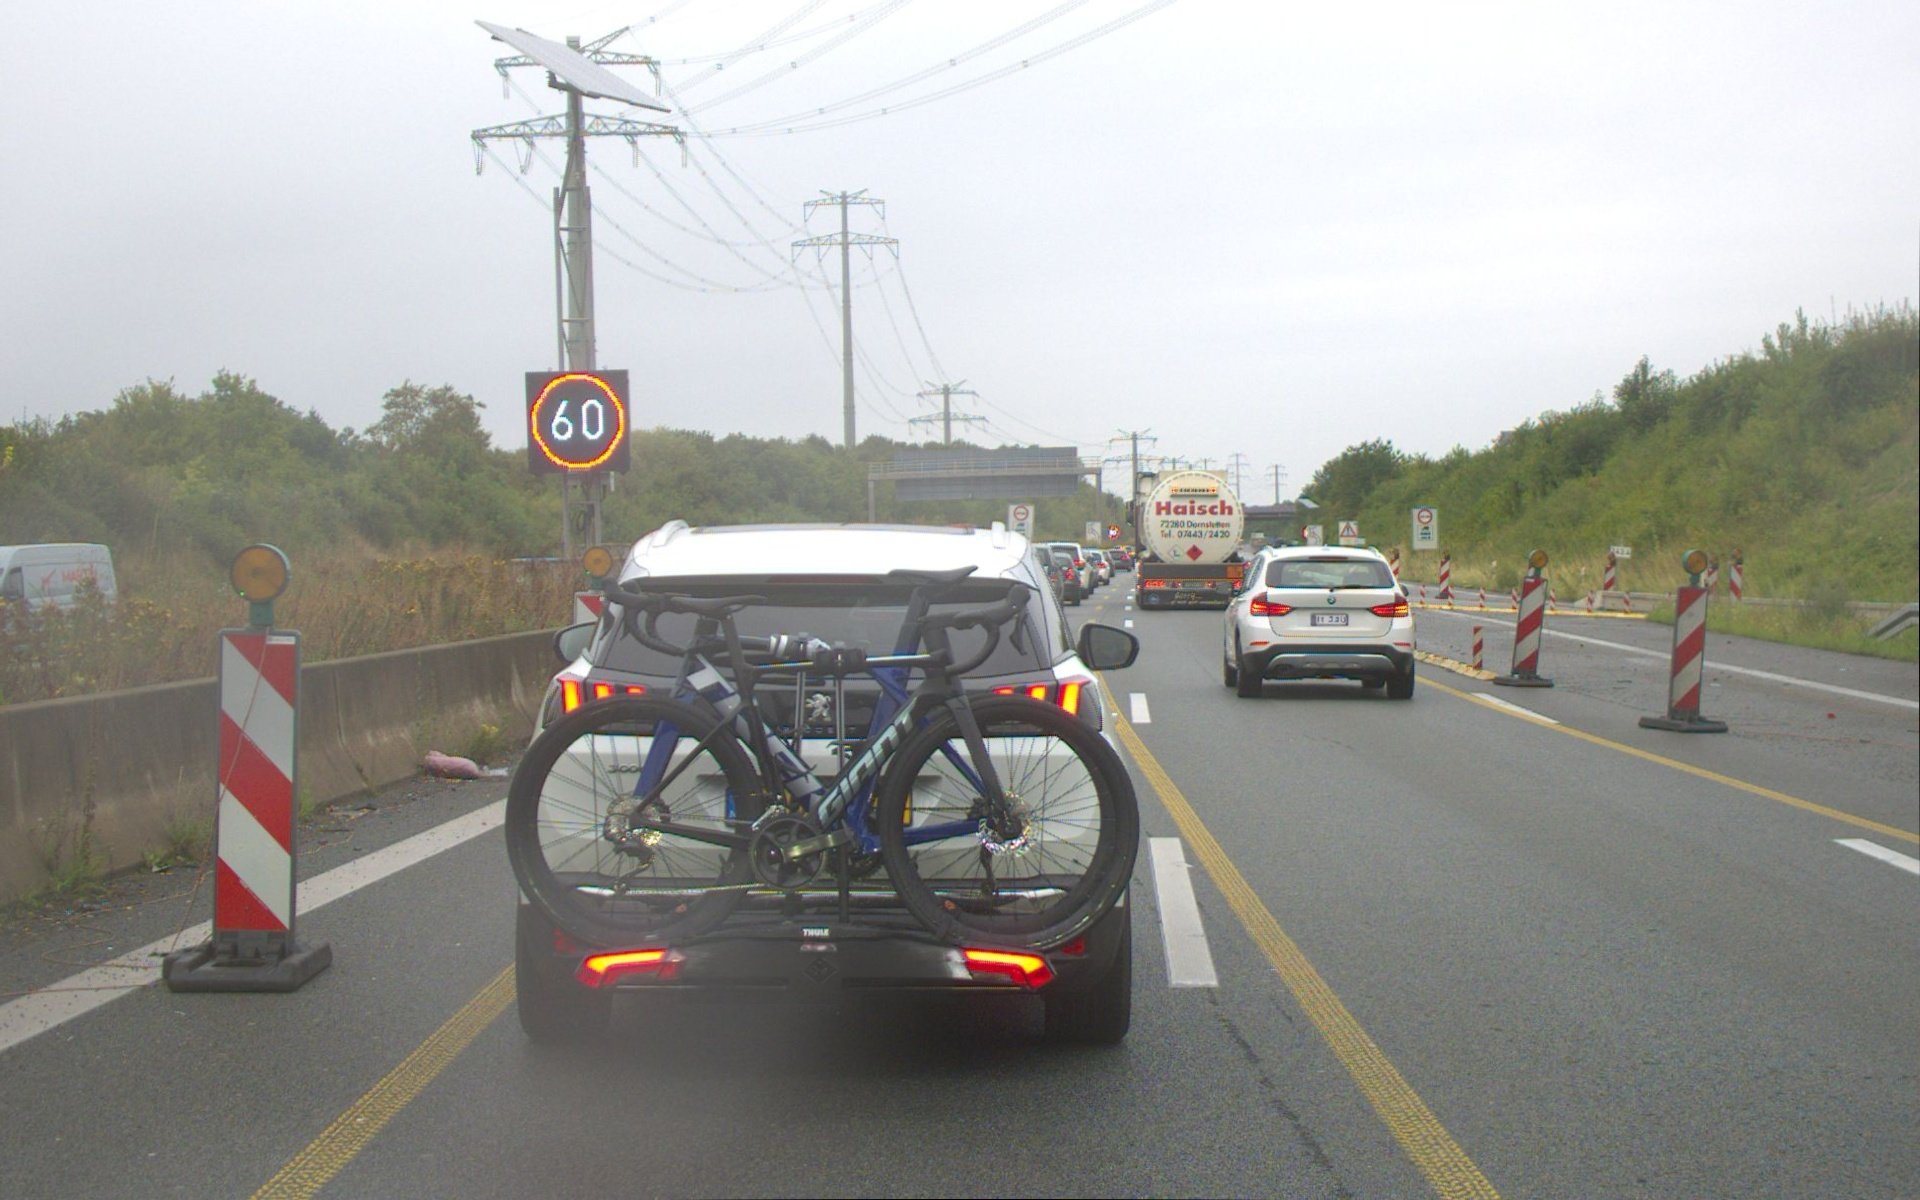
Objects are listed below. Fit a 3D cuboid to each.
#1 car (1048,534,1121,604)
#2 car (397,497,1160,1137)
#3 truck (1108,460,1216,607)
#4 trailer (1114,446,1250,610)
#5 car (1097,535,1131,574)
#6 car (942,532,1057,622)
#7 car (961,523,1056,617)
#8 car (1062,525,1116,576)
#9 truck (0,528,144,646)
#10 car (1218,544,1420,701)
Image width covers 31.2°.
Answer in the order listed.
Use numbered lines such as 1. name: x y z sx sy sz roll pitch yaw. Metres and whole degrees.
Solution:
1. car: 3.685 -0.918 102.332 1.993 2.007 4.000 1 0 0
2. car: -0.388 0.510 10.996 1.928 1.605 4.595 0 1 2
3. truck: 5.483 -1.784 93.811 2.644 3.877 4.030 1 0 0
4. trailer: 5.527 -1.749 87.351 2.637 3.880 10.544 1 0 0
5. car: 7.980 -2.348 177.864 1.654 2.007 4.000 0 1 4
6. car: 0.688 -0.436 62.221 1.993 1.578 4.000 0 1 0
7. car: 1.062 -0.693 77.215 1.993 2.007 4.000 -1 1 0
8. car: 5.239 -2.007 140.160 1.993 2.007 4.000 1 0 0
9. truck: -20.341 -0.304 74.918 1.995 2.419 6.429 -1 1 16
10. car: 3.671 0.185 35.719 1.870 1.529 4.196 0 1 3
